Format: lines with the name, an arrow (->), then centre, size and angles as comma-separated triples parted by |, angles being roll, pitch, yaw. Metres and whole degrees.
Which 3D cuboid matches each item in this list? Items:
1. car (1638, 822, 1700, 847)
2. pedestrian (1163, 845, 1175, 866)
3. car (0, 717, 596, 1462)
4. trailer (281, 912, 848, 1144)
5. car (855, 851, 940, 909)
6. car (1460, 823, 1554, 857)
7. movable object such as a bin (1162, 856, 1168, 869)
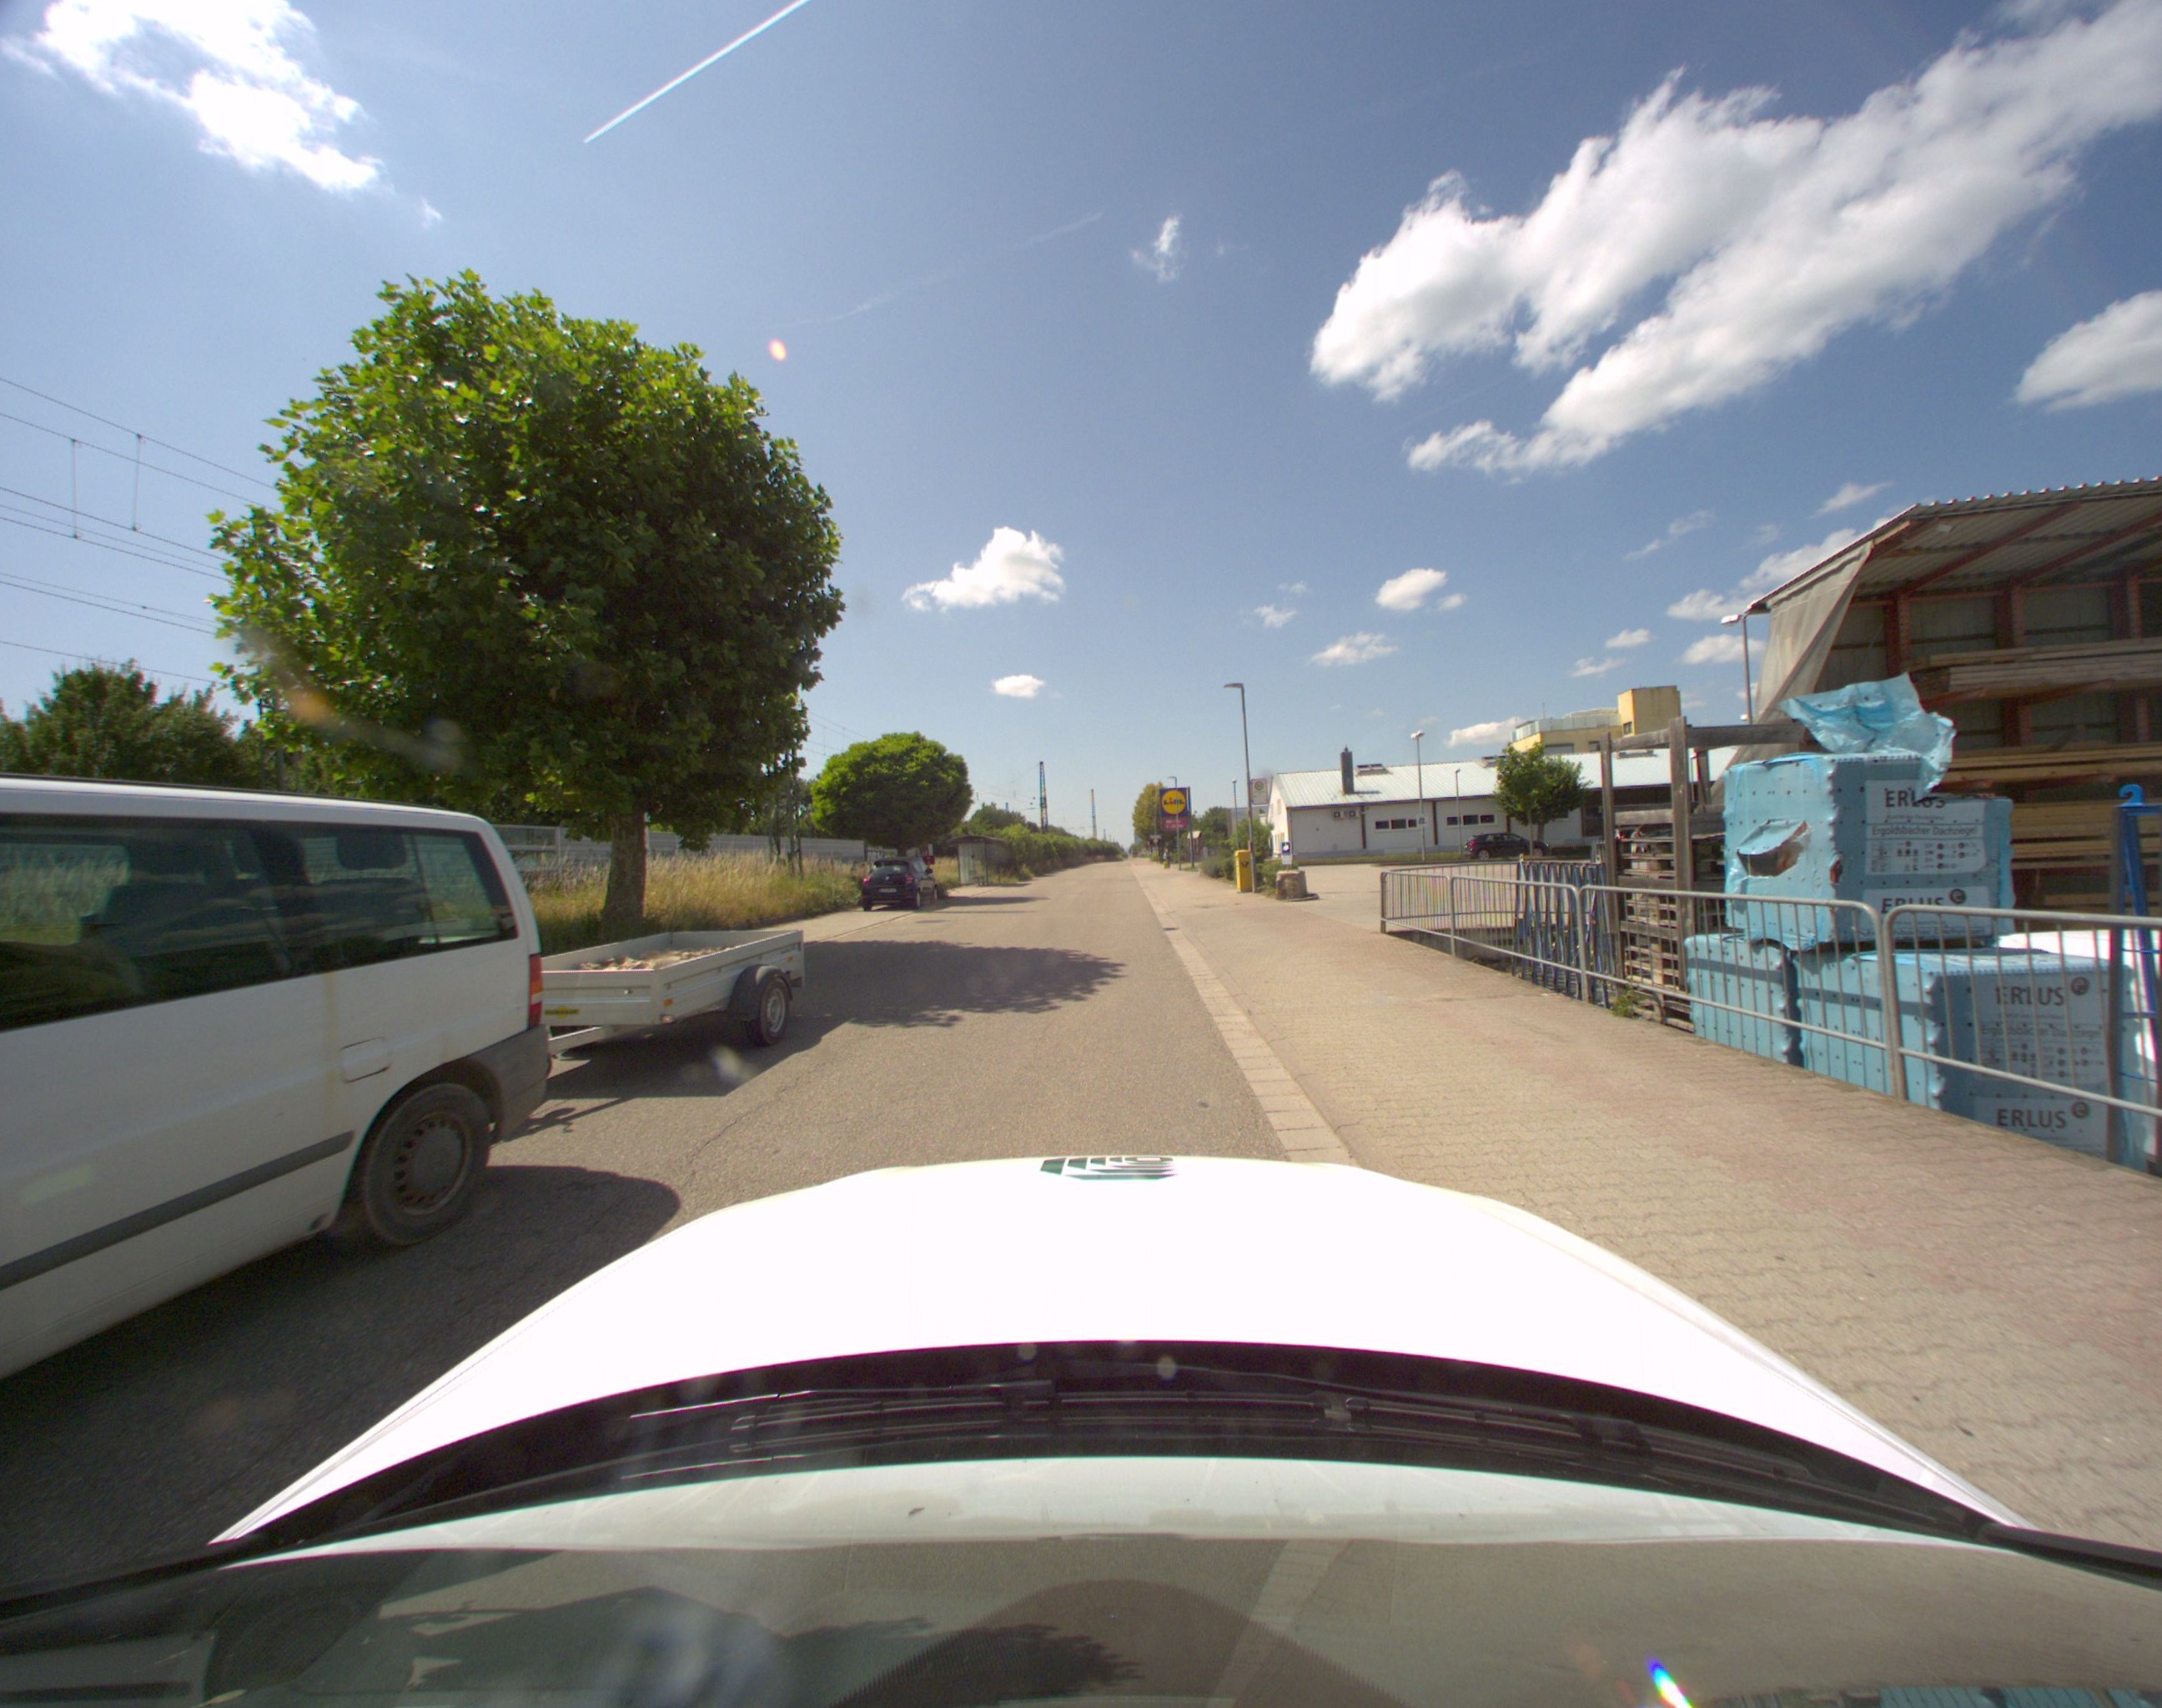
car -> 36.733, -1.177, 50.962 | 1.577, 1.425, 3.755 | -2, 0, 9
pedestrian -> 6.950, 0.105, 64.180 | 0.759, 1.601, 1.210 | -3, 0, 0
car -> -3.628, 0.618, 2.160 | 1.831, 1.858, 4.485 | -2, 0, 1
trailer -> -3.472, 1.117, 6.628 | 1.812, 0.850, 4.223 | -4, 0, 1
car -> -5.605, 0.750, 25.284 | 1.736, 1.596, 3.579 | -2, 0, 1
car -> 22.237, -0.730, 42.668 | 3.958, 1.494, 2.008 | -3, 0, 14
movable object such as a bin -> 6.558, 0.661, 63.654 | 0.373, 1.029, 0.499 | -4, 0, -1
